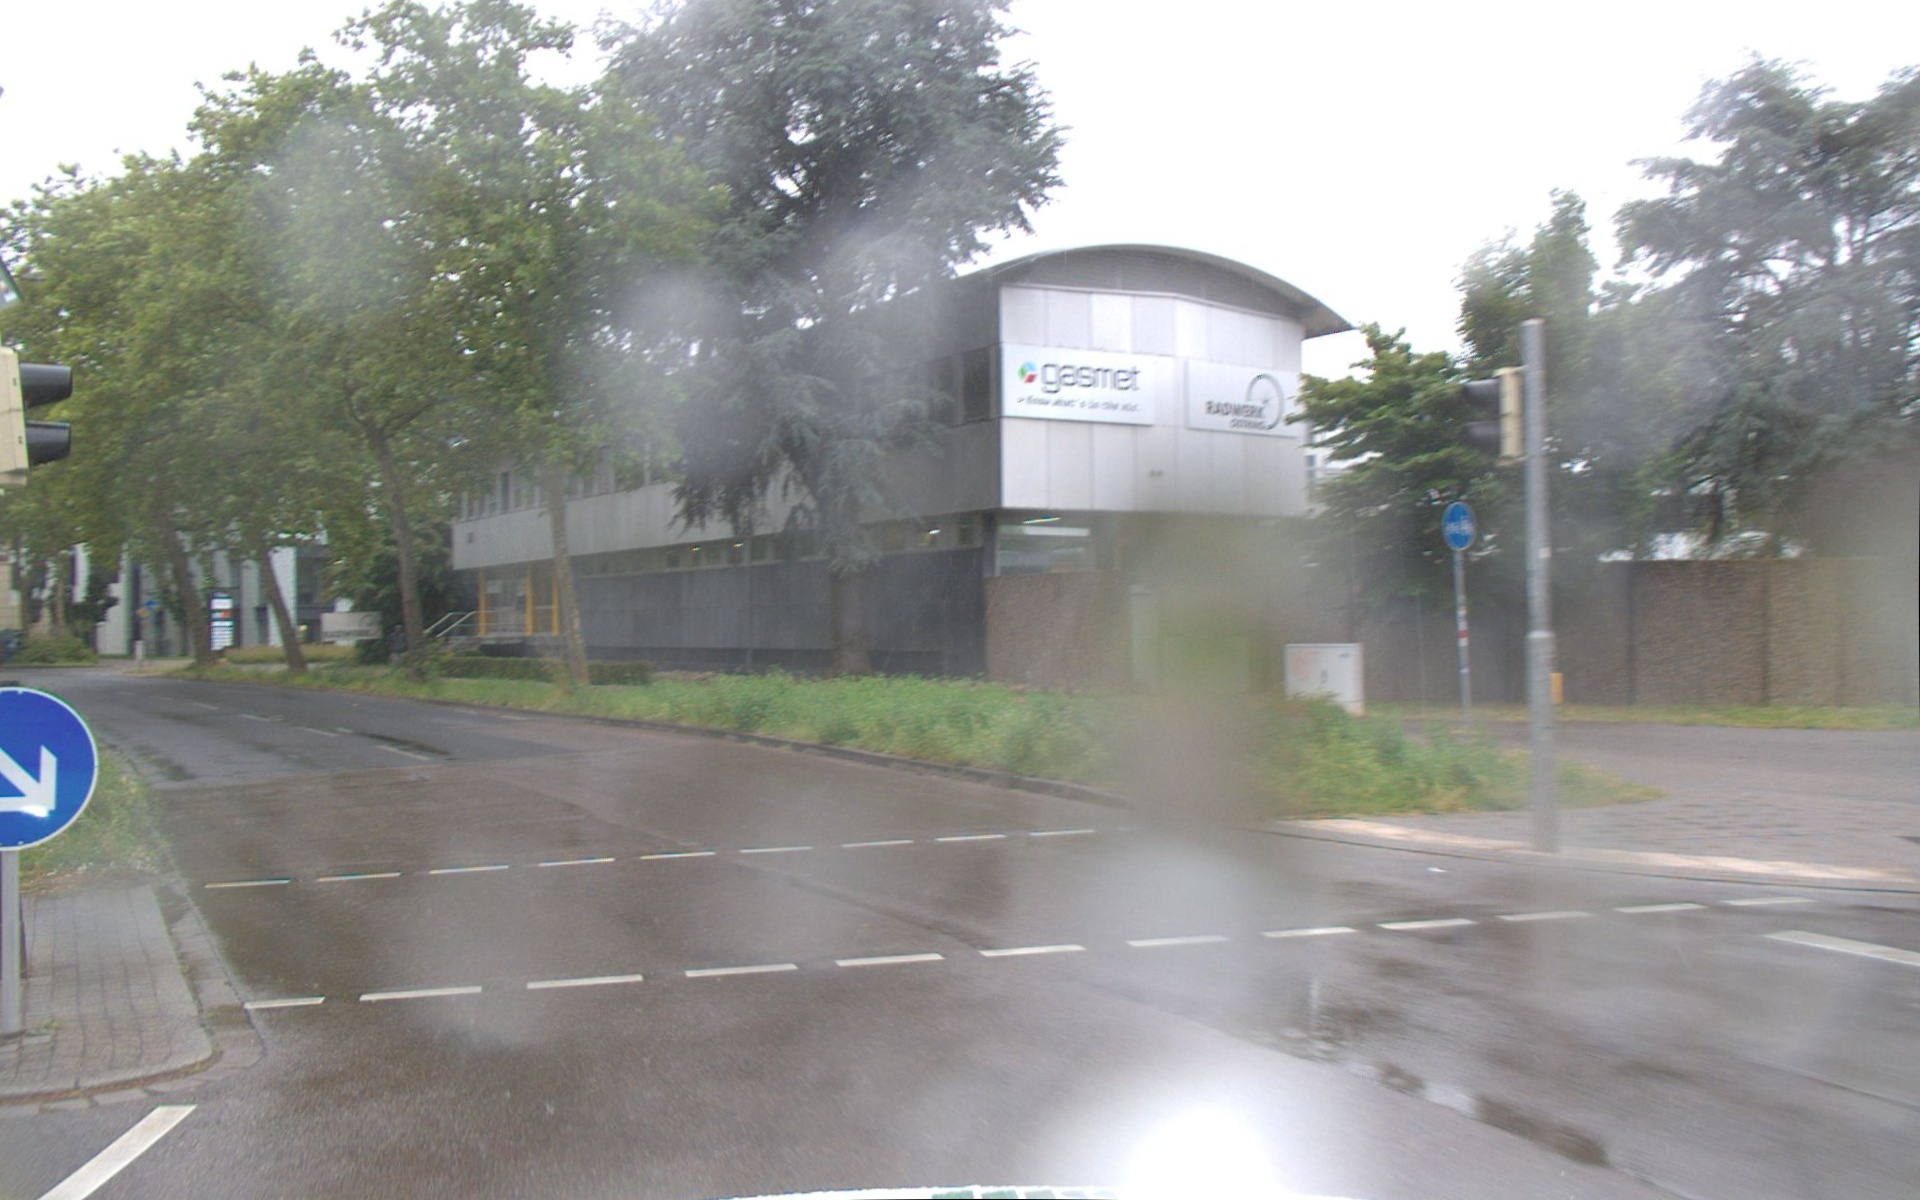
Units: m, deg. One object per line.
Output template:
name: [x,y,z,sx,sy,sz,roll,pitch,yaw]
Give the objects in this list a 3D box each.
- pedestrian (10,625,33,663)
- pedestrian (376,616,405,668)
pedestrian: [-50.022,2.337,88.123,0.691,1.984,0.857,0,0,4]
pedestrian: [-18.995,1.386,55.179,0.667,1.697,0.813,-1,0,-40]
